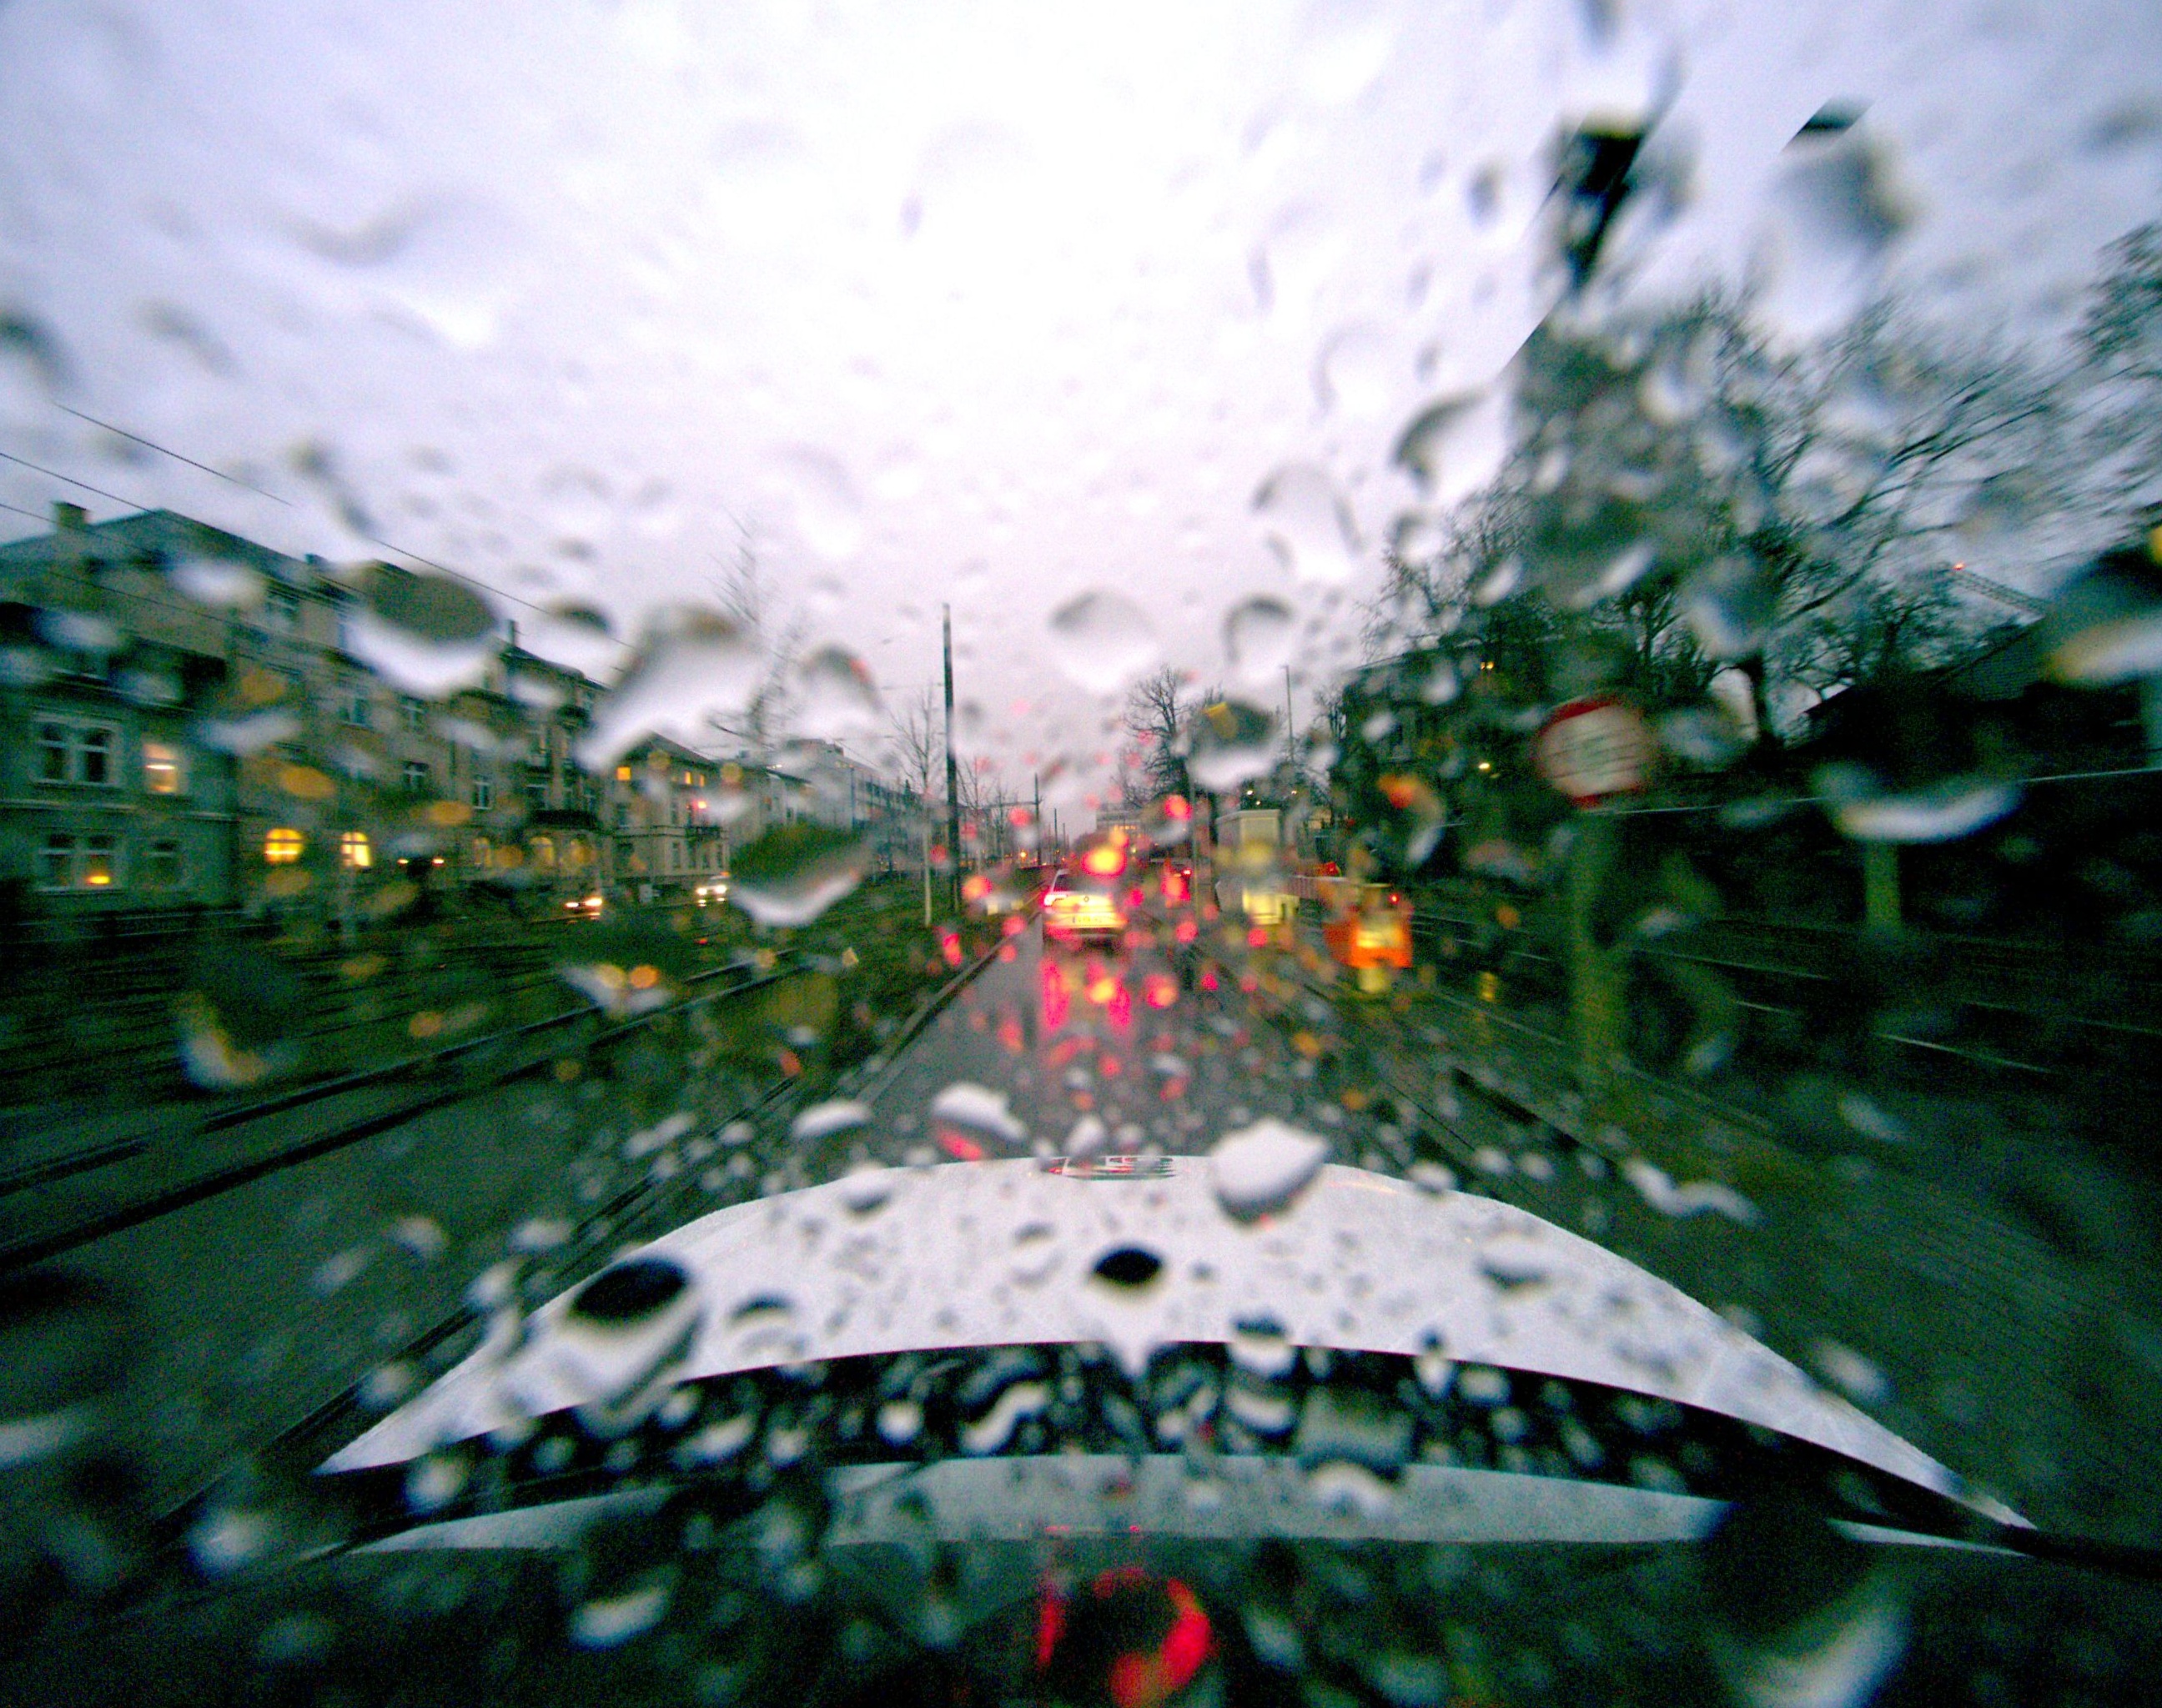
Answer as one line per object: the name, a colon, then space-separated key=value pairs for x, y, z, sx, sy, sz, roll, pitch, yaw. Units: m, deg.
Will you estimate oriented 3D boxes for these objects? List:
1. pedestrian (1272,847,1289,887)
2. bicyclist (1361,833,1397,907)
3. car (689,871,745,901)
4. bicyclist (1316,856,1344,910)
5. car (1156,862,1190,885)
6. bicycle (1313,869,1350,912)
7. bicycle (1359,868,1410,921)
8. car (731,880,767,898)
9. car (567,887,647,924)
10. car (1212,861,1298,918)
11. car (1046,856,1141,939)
pedestrian: x=9.508 y=0.613 z=38.833 sx=0.530 sy=1.880 sz=0.900 roll=-2 pitch=-1 yaw=-1
bicyclist: x=7.353 y=0.393 z=20.102 sx=0.498 sy=1.767 sz=0.836 roll=-2 pitch=-1 yaw=-2
car: x=-27.151 y=2.344 z=60.971 sx=1.988 sy=1.933 sz=4.908 roll=-3 pitch=0 yaw=-2
bicyclist: x=7.480 y=0.868 z=24.504 sx=0.498 sy=1.591 sz=0.836 roll=-2 pitch=-1 yaw=-2
car: x=5.308 y=1.138 z=47.398 sx=1.617 sy=1.299 sz=4.001 roll=0 pitch=-1 yaw=2
bicycle: x=7.500 y=1.075 z=24.425 sx=0.410 sy=1.185 sz=1.947 roll=-2 pitch=0 yaw=-1
bicycle: x=7.339 y=0.938 z=19.773 sx=0.410 sy=1.185 sz=2.028 roll=-2 pitch=0 yaw=-1
car: x=-31.197 y=3.304 z=76.528 sx=1.801 sy=1.436 sz=3.924 roll=-3 pitch=0 yaw=-2
car: x=-26.021 y=2.773 z=44.854 sx=1.988 sy=1.692 sz=4.108 roll=-3 pitch=0 yaw=-2
car: x=4.860 y=0.964 z=23.273 sx=1.716 sy=1.479 sz=4.001 roll=0 pitch=-1 yaw=2
car: x=0.287 y=0.822 z=16.685 sx=1.716 sy=1.479 sz=4.001 roll=0 pitch=-1 yaw=2
